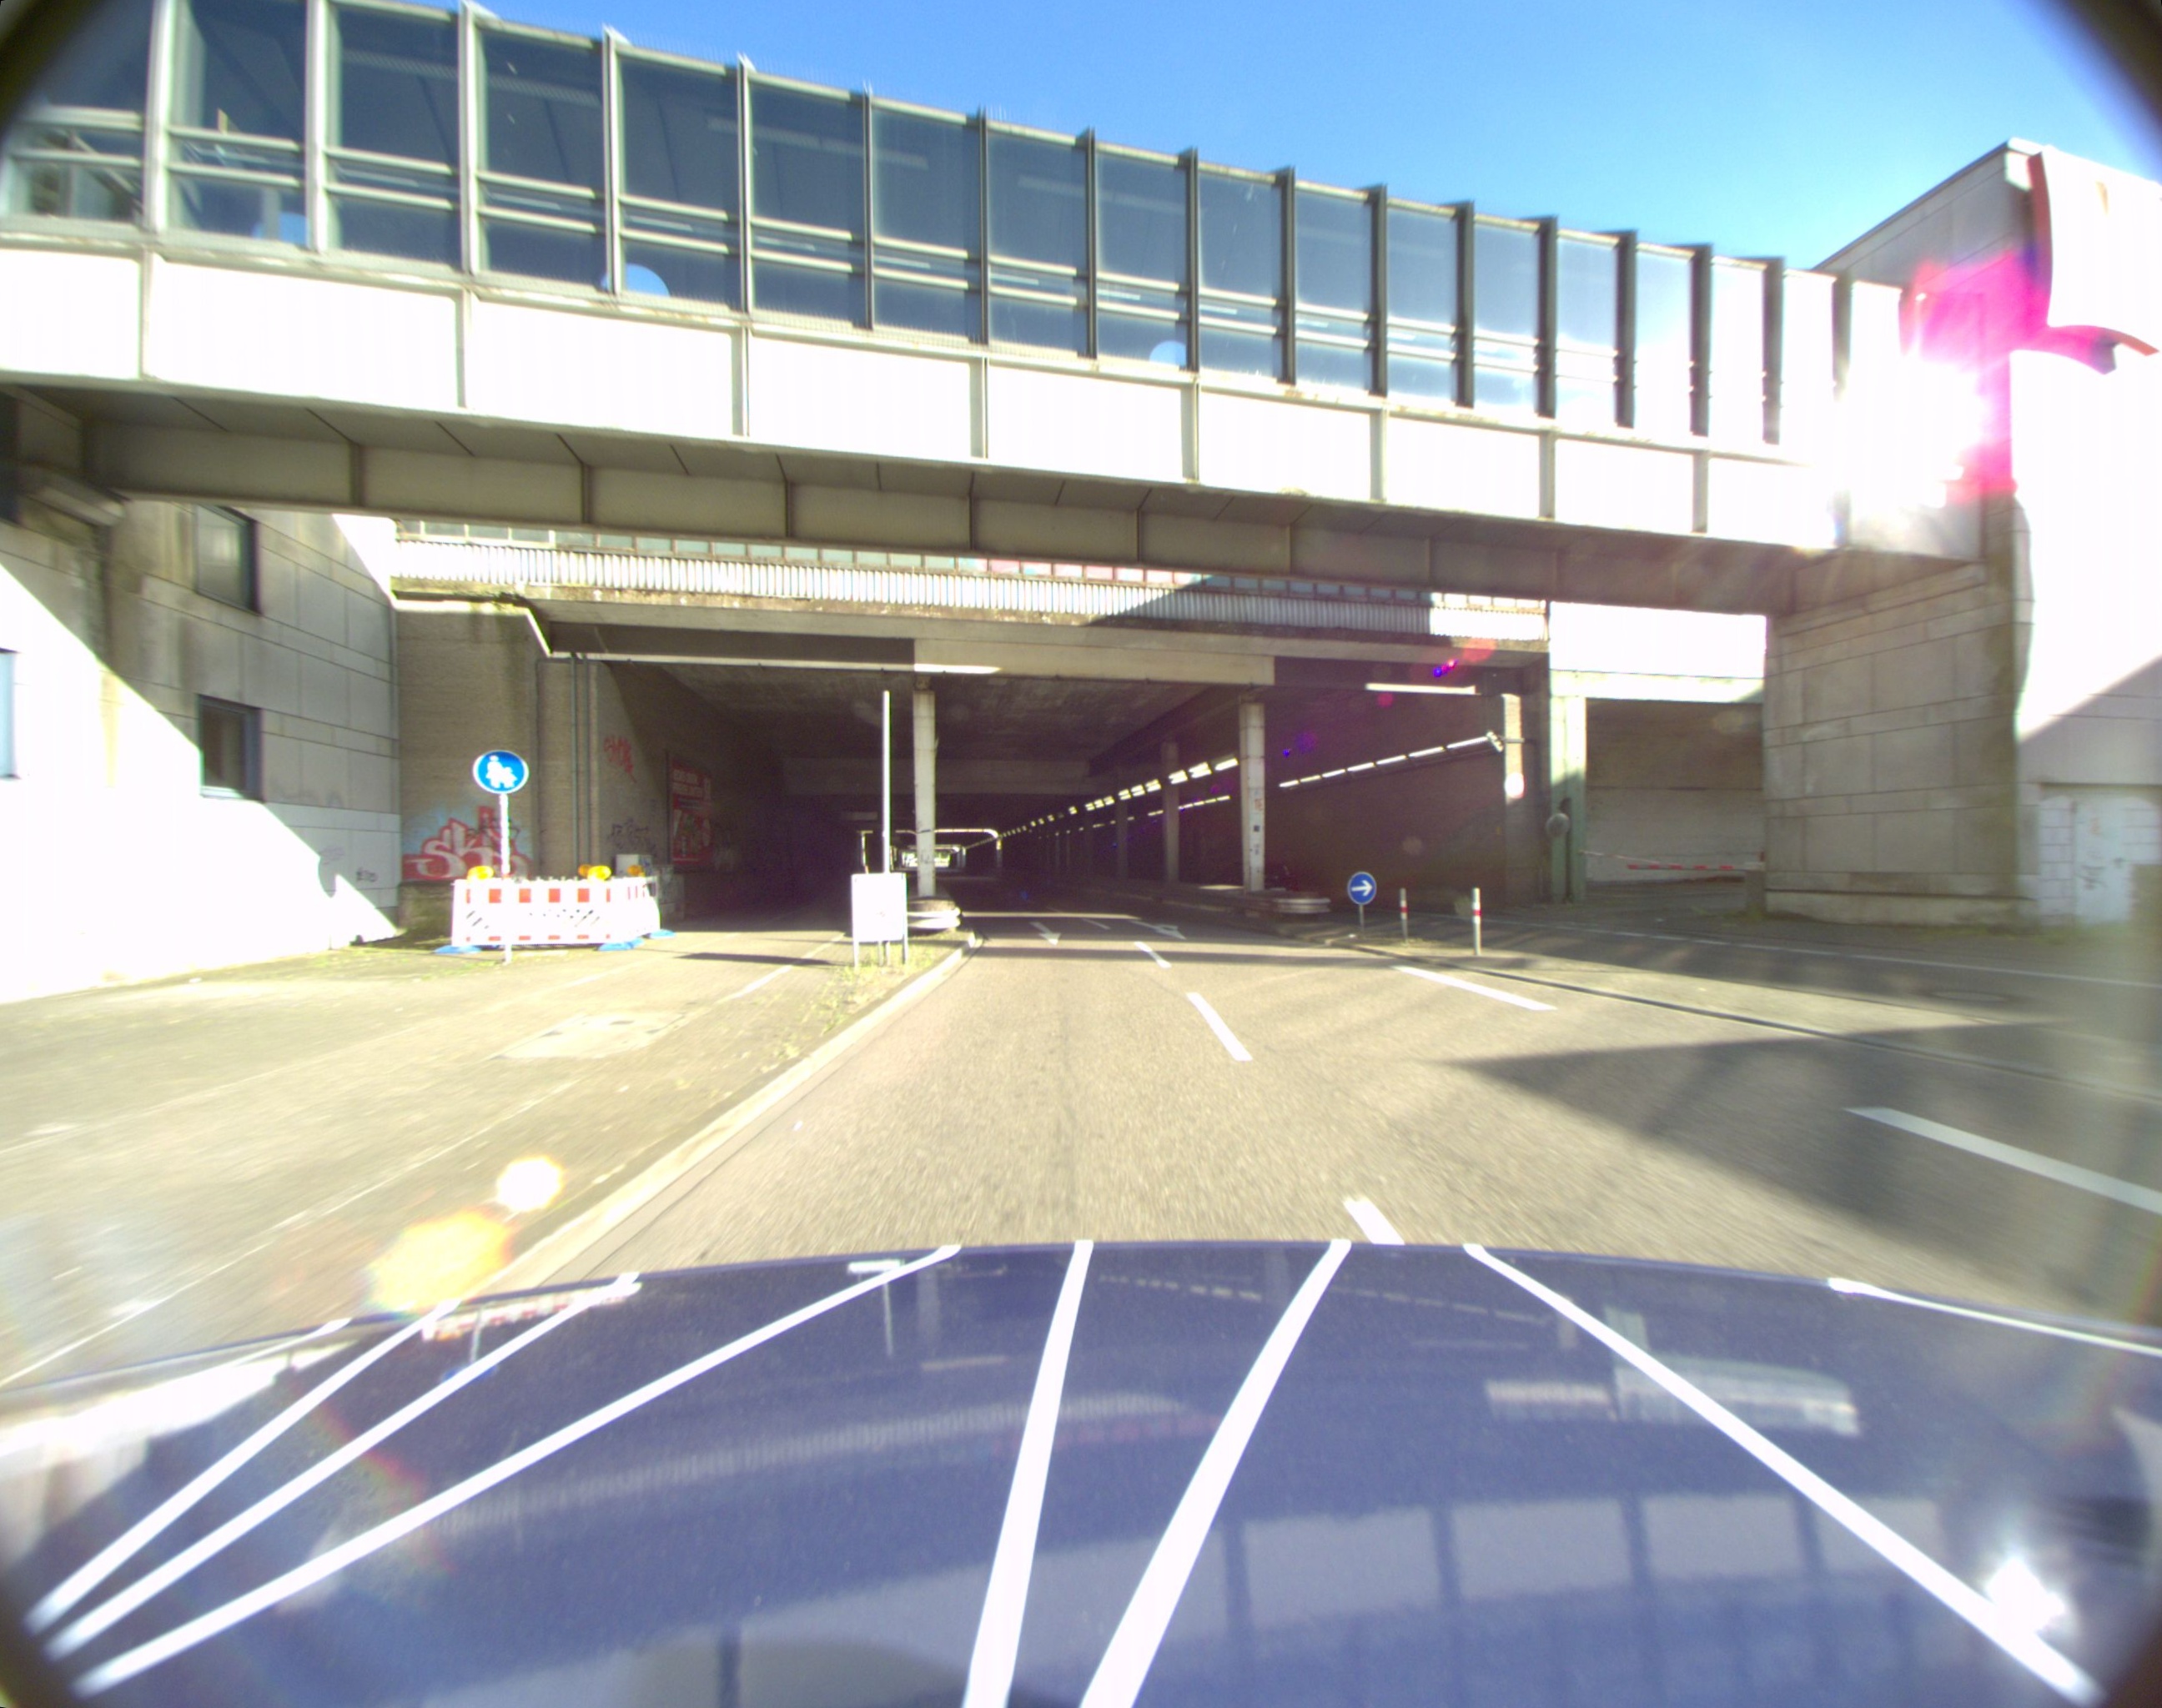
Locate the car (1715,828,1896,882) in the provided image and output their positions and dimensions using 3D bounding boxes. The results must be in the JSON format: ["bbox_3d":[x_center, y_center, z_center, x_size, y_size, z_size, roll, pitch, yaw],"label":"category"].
[{"bbox_3d":[23.225,0.042,24.581,1.698,1.569,3.996,-1,0,-11],"label":"car"}]

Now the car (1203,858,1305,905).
[{"bbox_3d":[5.649,0.855,25.426,1.758,1.397,4.411,-1,0,-10],"label":"car"}]
